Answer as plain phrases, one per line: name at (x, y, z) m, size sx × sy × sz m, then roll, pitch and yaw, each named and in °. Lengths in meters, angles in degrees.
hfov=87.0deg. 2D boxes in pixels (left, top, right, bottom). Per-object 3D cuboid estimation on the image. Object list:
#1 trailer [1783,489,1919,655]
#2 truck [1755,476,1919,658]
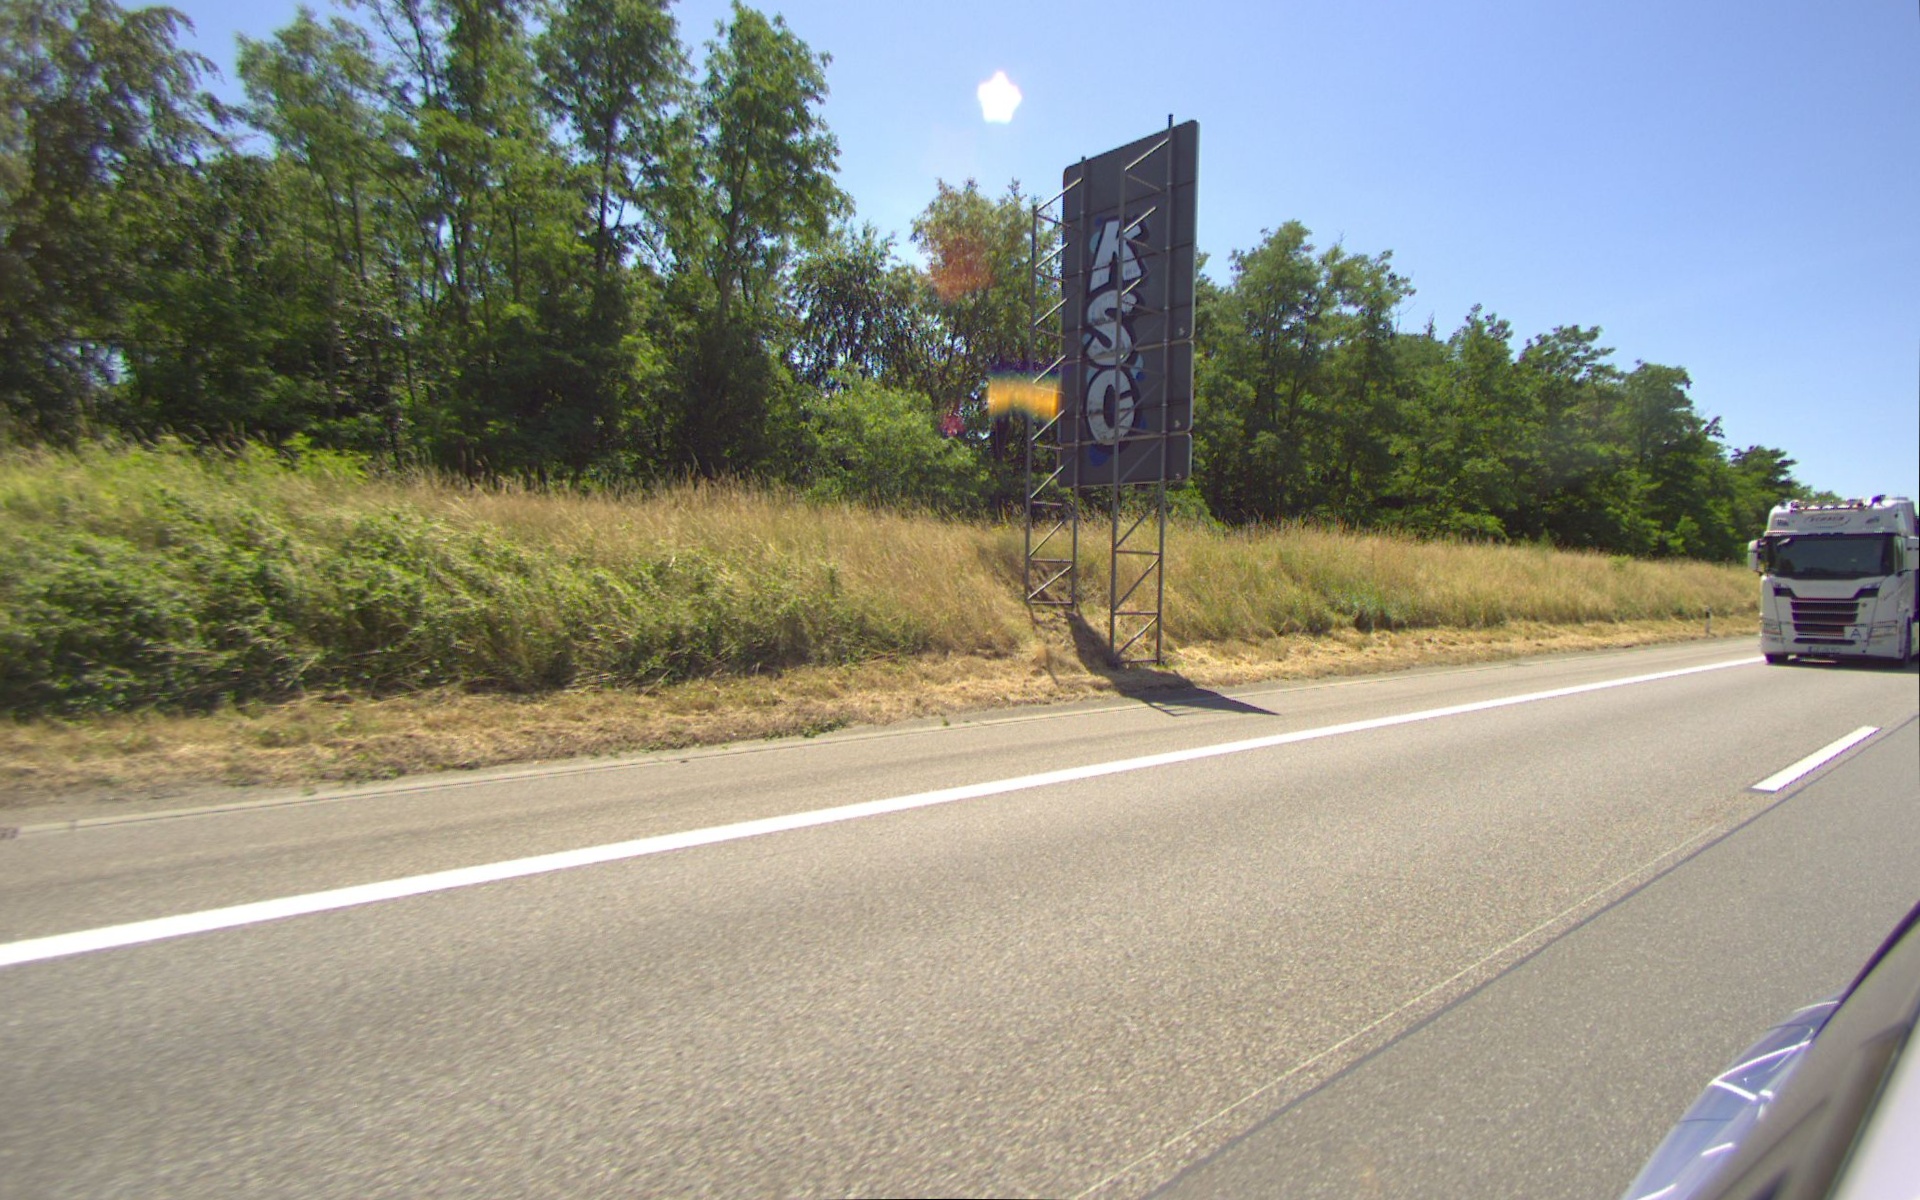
trailer at (24.685, -0.623, 26.958) m, size 8.948 × 3.806 × 2.742 m, roll 1°, pitch 0°, yaw -41°
truck at (21.333, -0.684, 24.085) m, size 5.839 × 3.806 × 2.689 m, roll 1°, pitch 0°, yaw -41°
